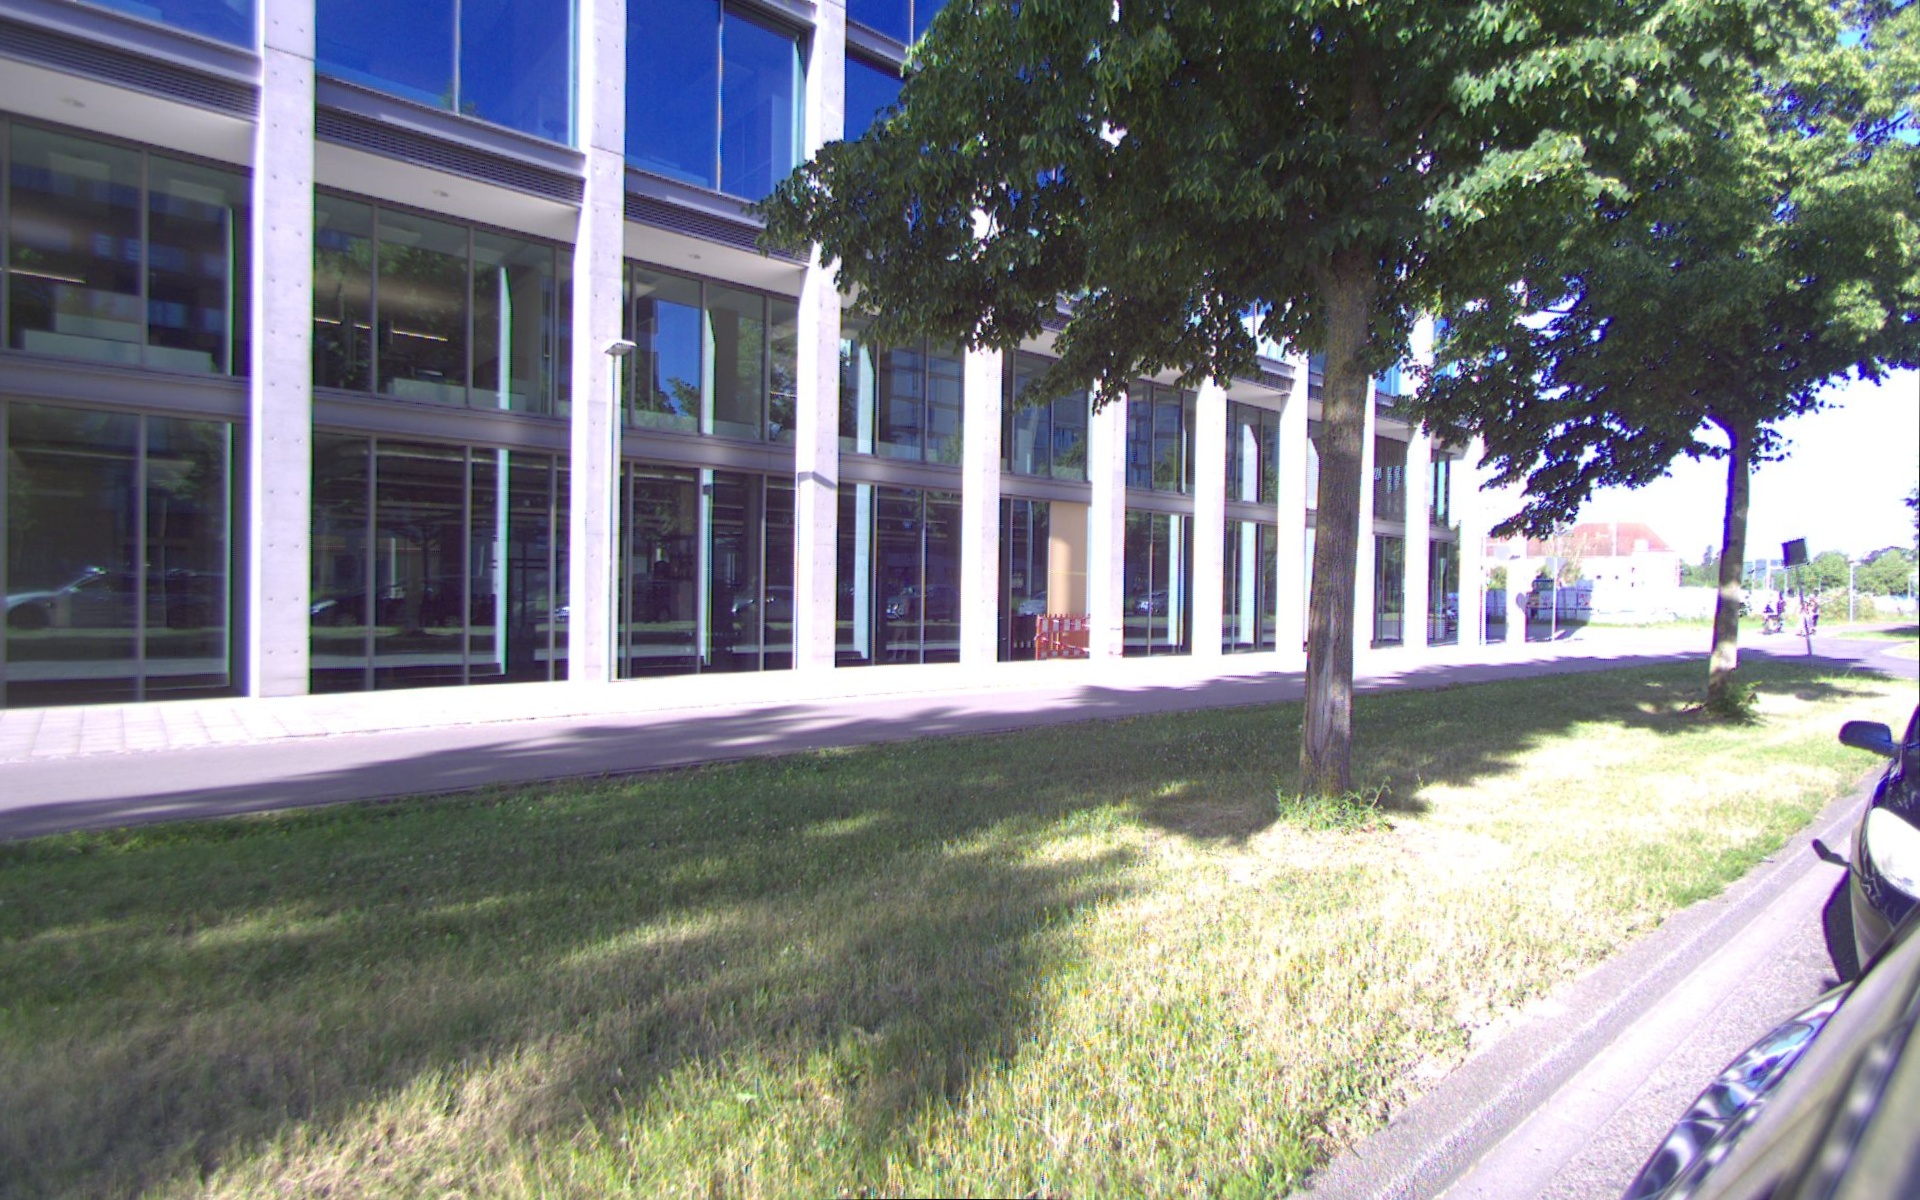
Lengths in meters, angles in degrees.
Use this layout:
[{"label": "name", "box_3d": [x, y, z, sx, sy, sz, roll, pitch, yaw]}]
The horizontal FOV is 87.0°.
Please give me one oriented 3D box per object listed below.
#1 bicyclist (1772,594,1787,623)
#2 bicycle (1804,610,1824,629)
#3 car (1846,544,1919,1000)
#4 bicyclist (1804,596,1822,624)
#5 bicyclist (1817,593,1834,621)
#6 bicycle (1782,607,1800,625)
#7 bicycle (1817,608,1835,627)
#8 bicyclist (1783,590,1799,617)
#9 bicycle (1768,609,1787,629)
[{"label": "bicyclist", "box_3d": [37.034, 0.384, 45.752, 0.410, 1.305, 0.448, 0, 0, -40]}, {"label": "bicycle", "box_3d": [37.991, 0.854, 44.999, 1.321, 0.828, 0.464, -1, 0, -40]}, {"label": "car", "box_3d": [5.081, 0.592, 4.146, 3.719, 1.541, 1.685, 0, 1, -41]}, {"label": "bicyclist", "box_3d": [37.937, 0.422, 45.012, 0.498, 1.232, 0.534, 0, 0, -40]}, {"label": "bicyclist", "box_3d": [40.862, 0.344, 47.787, 0.512, 1.305, 0.534, 0, 0, -40]}, {"label": "bicycle", "box_3d": [39.885, 0.752, 48.577, 1.321, 0.828, 0.464, -1, 0, -40]}, {"label": "bicycle", "box_3d": [40.912, 0.823, 47.808, 1.321, 0.828, 0.464, -1, 0, -40]}, {"label": "bicyclist", "box_3d": [39.878, 0.166, 48.555, 0.449, 1.305, 0.534, 0, 0, -40]}, {"label": "bicycle", "box_3d": [36.988, 0.852, 45.774, 1.296, 0.828, 0.415, -1, 0, -40]}]
